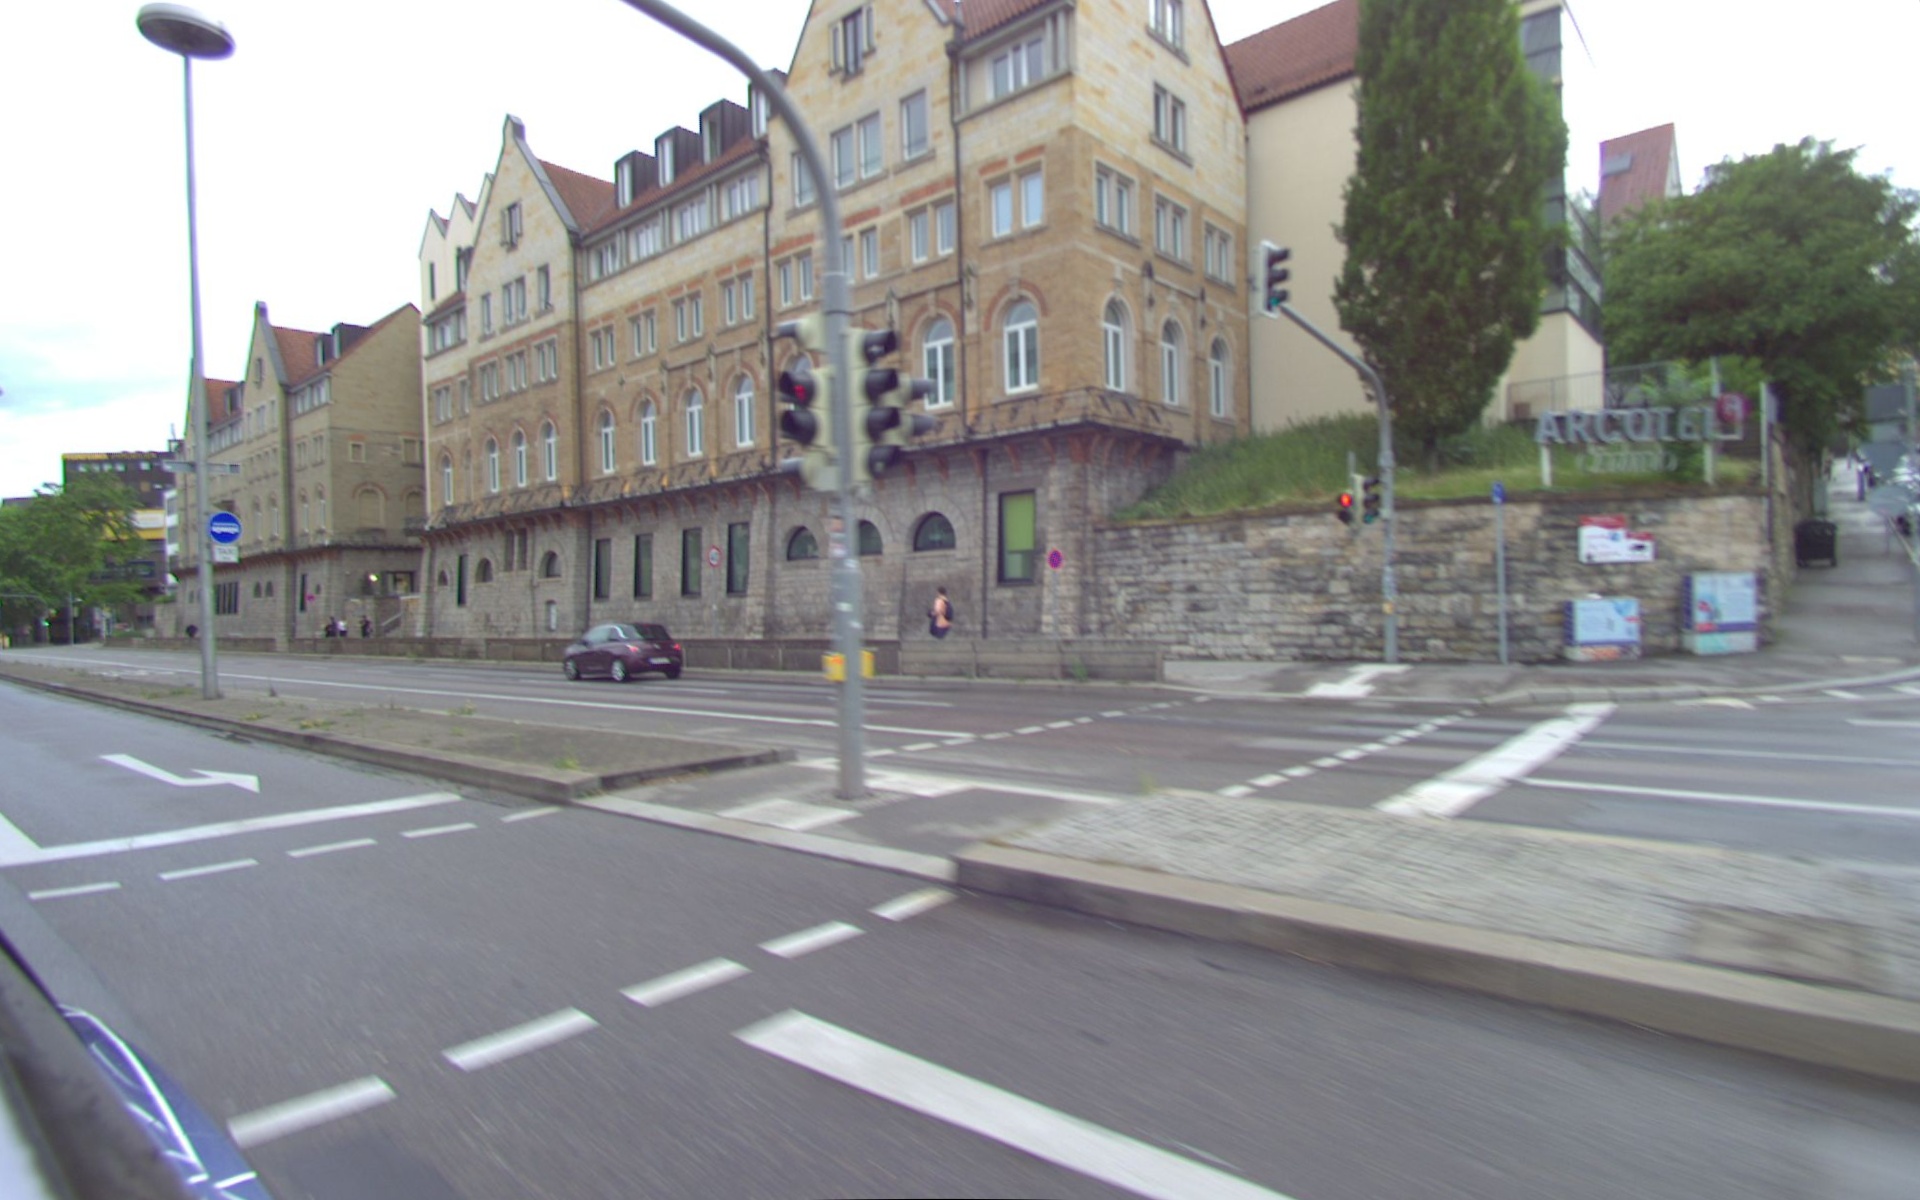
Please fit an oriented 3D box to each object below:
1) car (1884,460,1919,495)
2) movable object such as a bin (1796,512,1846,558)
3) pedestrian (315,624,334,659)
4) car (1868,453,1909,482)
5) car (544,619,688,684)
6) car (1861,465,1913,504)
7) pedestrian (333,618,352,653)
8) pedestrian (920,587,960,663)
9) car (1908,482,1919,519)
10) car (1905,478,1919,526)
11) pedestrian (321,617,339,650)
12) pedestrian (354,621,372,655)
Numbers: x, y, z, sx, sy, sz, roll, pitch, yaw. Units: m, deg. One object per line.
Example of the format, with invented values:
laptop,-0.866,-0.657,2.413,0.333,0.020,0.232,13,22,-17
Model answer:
car,51.513,-6.675,54.965,1.847,1.696,3.947,-1,5,41
movable object such as a bin,25.703,-1.949,30.222,1.117,1.252,0.817,0,8,40
pedestrian,-32.733,2.122,52.106,0.683,1.792,0.669,-1,0,41
car,59.742,-8.521,65.153,1.813,1.696,3.947,-1,5,41
car,-8.859,1.288,25.951,3.998,1.475,1.693,-2,0,41
car,46.189,-5.766,50.475,1.813,1.696,3.947,-1,5,41
pedestrian,-32.275,1.848,52.920,0.683,1.792,0.669,-1,0,41
pedestrian,-0.490,0.597,24.498,0.683,1.792,0.669,-1,0,41
car,40.447,-4.178,41.697,1.863,1.465,3.854,-1,5,41
car,36.495,-3.713,37.488,2.052,1.696,3.947,-1,5,41
pedestrian,-34.673,1.818,55.677,0.683,1.792,0.669,-1,0,41
pedestrian,-31.843,2.021,53.986,0.683,1.792,0.669,-1,0,41
